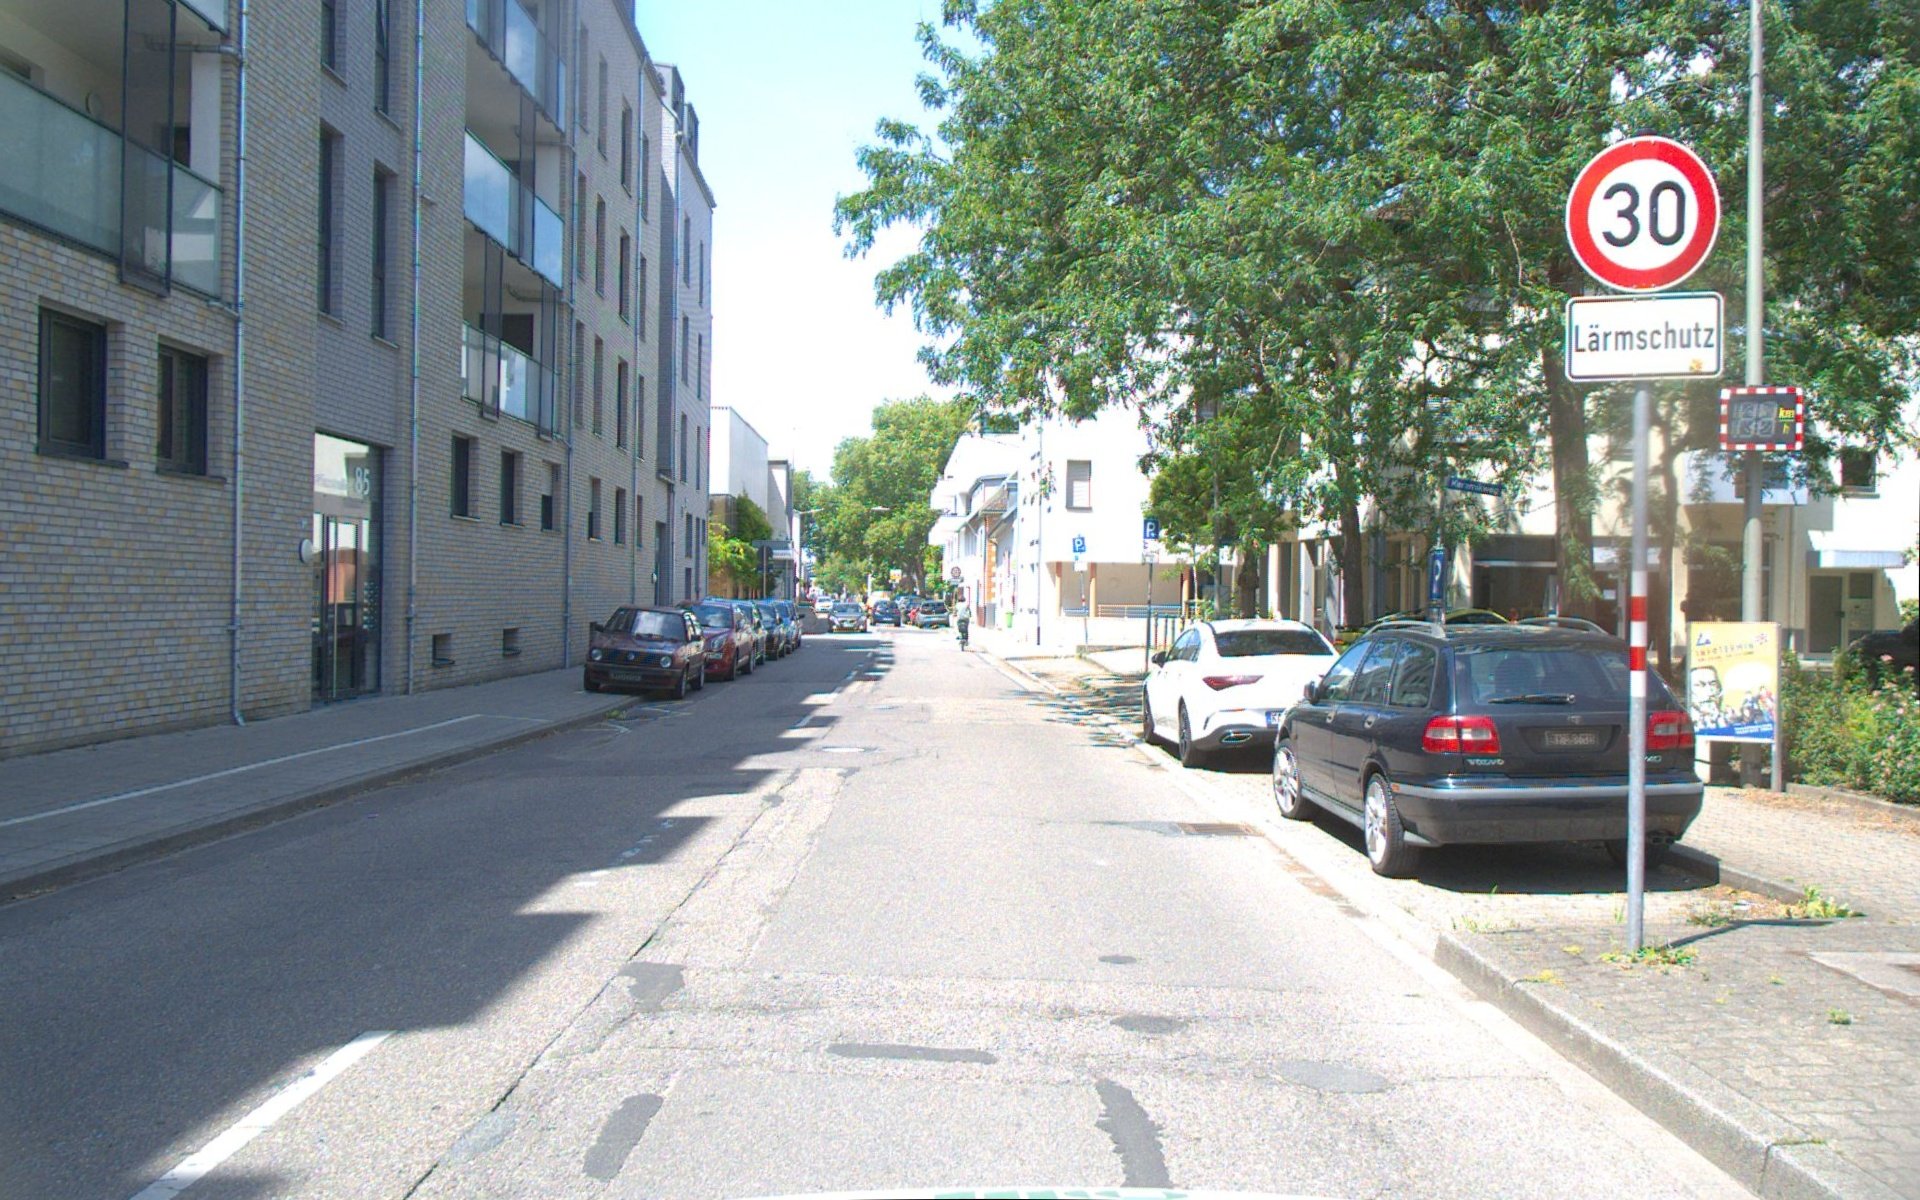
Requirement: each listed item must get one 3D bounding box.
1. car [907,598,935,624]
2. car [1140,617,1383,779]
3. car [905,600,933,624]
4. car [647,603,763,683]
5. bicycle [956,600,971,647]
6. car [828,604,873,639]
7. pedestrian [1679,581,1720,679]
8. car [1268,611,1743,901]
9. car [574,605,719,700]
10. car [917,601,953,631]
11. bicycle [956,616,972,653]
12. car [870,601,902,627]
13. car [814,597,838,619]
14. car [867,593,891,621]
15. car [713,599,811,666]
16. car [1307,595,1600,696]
[{"bbox_3d":[-2.581,0.700,109.747,1.788,1.671,3.534,1,0,-1],"label":"car"},{"bbox_3d":[3.004,0.927,17.256,1.743,1.445,3.999,1,0,-1],"label":"car"},{"bbox_3d":[-2.586,0.763,104.509,1.717,1.477,3.678,1,0,-1],"label":"car"},{"bbox_3d":[-5.010,0.808,32.899,1.697,1.467,3.999,1,0,-1],"label":"car"},{"bbox_3d":[0.121,0.751,53.241,0.467,1.516,0.576,1,0,-1],"label":"bicycle"},{"bbox_3d":[-5.040,0.962,76.439,1.953,1.545,3.998,0,0,-2],"label":"car"},{"bbox_3d":[14.351,0.573,32.097,0.586,1.891,0.600,0,0,41],"label":"pedestrian"},{"bbox_3d":[3.240,0.829,10.683,1.658,1.445,3.999,-2,0,-1],"label":"car"},{"bbox_3d":[-5.192,0.834,27.887,1.697,1.467,3.999,1,0,-1],"label":"car"},{"bbox_3d":[-1.450,0.898,93.272,1.953,1.646,3.999,1,0,-2],"label":"car"},{"bbox_3d":[0.118,1.105,53.253,0.473,1.134,1.195,1,0,-1],"label":"bicycle"},{"bbox_3d":[-4.325,0.790,96.870,1.680,1.426,4.000,1,0,0],"label":"car"},{"bbox_3d":[-12.699,0.763,156.797,1.953,2.049,3.999,1,0,-1],"label":"car"},{"bbox_3d":[-6.209,0.540,127.592,1.802,2.049,3.998,1,0,-2],"label":"car"},{"bbox_3d":[-4.741,0.747,40.143,1.789,1.445,4.000,3,0,1],"label":"car"},{"bbox_3d":[8.004,0.741,26.811,4.322,1.405,1.984,3,0,-25],"label":"car"}]
